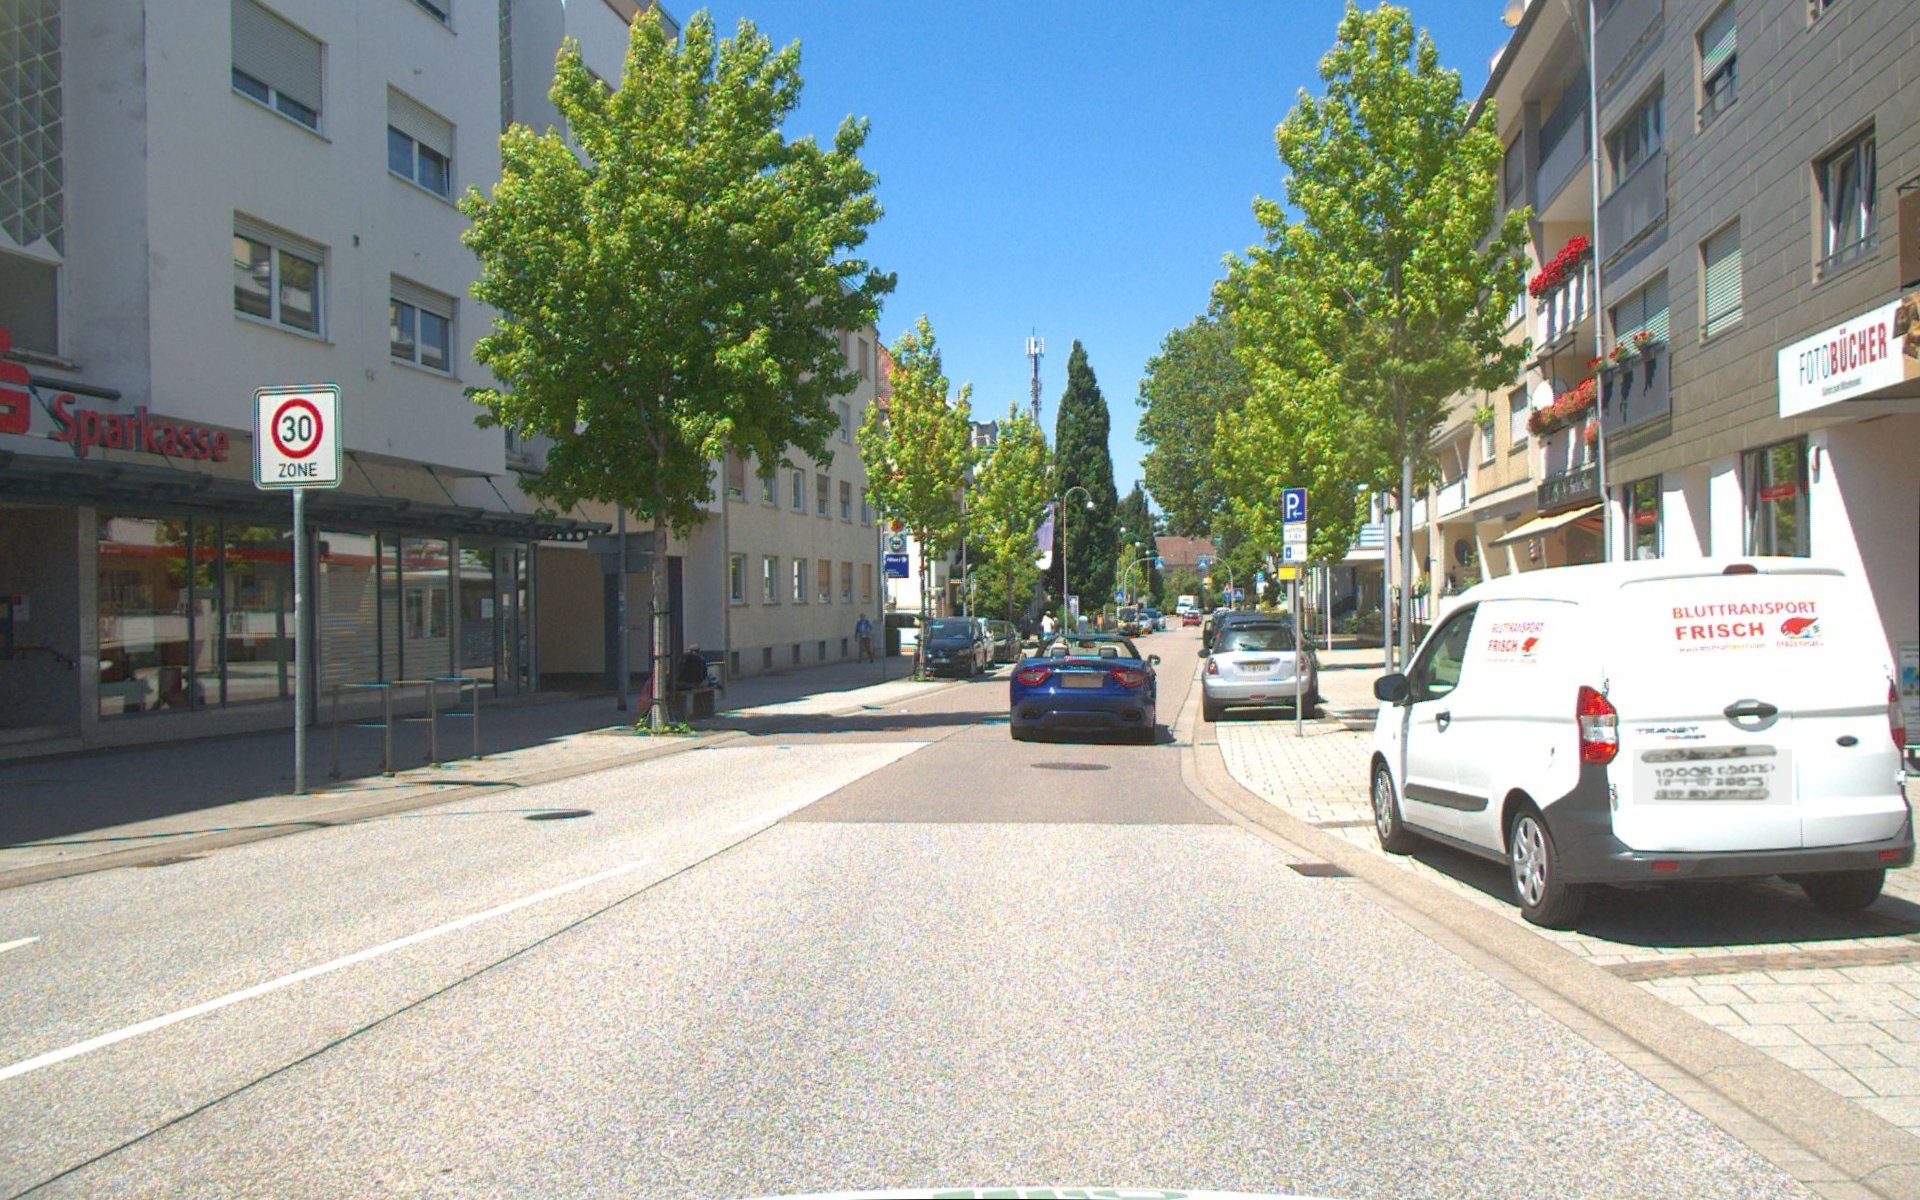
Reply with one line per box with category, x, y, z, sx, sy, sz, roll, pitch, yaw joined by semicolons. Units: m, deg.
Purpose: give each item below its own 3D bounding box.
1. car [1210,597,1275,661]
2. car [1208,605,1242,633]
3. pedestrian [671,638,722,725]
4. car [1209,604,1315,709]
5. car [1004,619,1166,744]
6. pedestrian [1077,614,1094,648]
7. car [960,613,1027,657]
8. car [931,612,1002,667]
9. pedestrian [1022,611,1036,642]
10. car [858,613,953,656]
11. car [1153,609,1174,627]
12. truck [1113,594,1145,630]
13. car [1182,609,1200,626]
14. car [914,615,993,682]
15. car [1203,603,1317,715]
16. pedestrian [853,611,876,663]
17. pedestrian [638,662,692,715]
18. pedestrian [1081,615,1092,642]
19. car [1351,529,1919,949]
car;9.359;0.921;54.642;1.951;1.830;4.573;-3;1;11
car;16.054;1.126;100.323;1.934;1.475;4.353;-3;0;9
pedestrian;-4.319;1.330;27.149;0.555;1.396;0.667;-2;-1;18
car;5.572;0.980;30.811;1.726;1.735;4.709;-3;-1;9
car;1.646;1.015;22.322;1.935;1.422;4.629;-1;0;3
pedestrian;7.448;1.853;98.190;0.831;1.949;0.762;-3;2;8
car;1.262;1.243;60.146;1.716;1.500;4.325;0;0;11
car;0.270;1.253;54.016;1.785;1.648;4.396;0;0;7
pedestrian;3.294;1.269;79.050;0.567;1.500;0.564;-1;-1;7
car;-2.403;1.526;73.660;3.973;1.855;1.761;0;0;7
car;17.922;1.565;145.539;1.732;1.502;4.141;-3;0;8
truck;10.945;0.747;106.974;1.766;2.154;4.719;-3;0;9
car;22.195;1.680;158.894;1.732;1.502;4.140;-1;-1;8
car;-0.152;1.365;48.355;1.692;1.771;4.396;2;0;7
car;4.661;0.865;25.985;1.588;1.586;3.843;-2;-1;9
pedestrian;-3.293;1.273;57.168;0.644;1.709;0.630;-3;2;-9
pedestrian;-5.027;1.518;28.197;0.650;0.873;0.733;-2;-4;18
pedestrian;7.532;1.700;98.117;0.574;1.602;0.782;-1;0;8
car;3.566;0.619;9.193;1.712;1.754;3.909;-3;-1;-1
